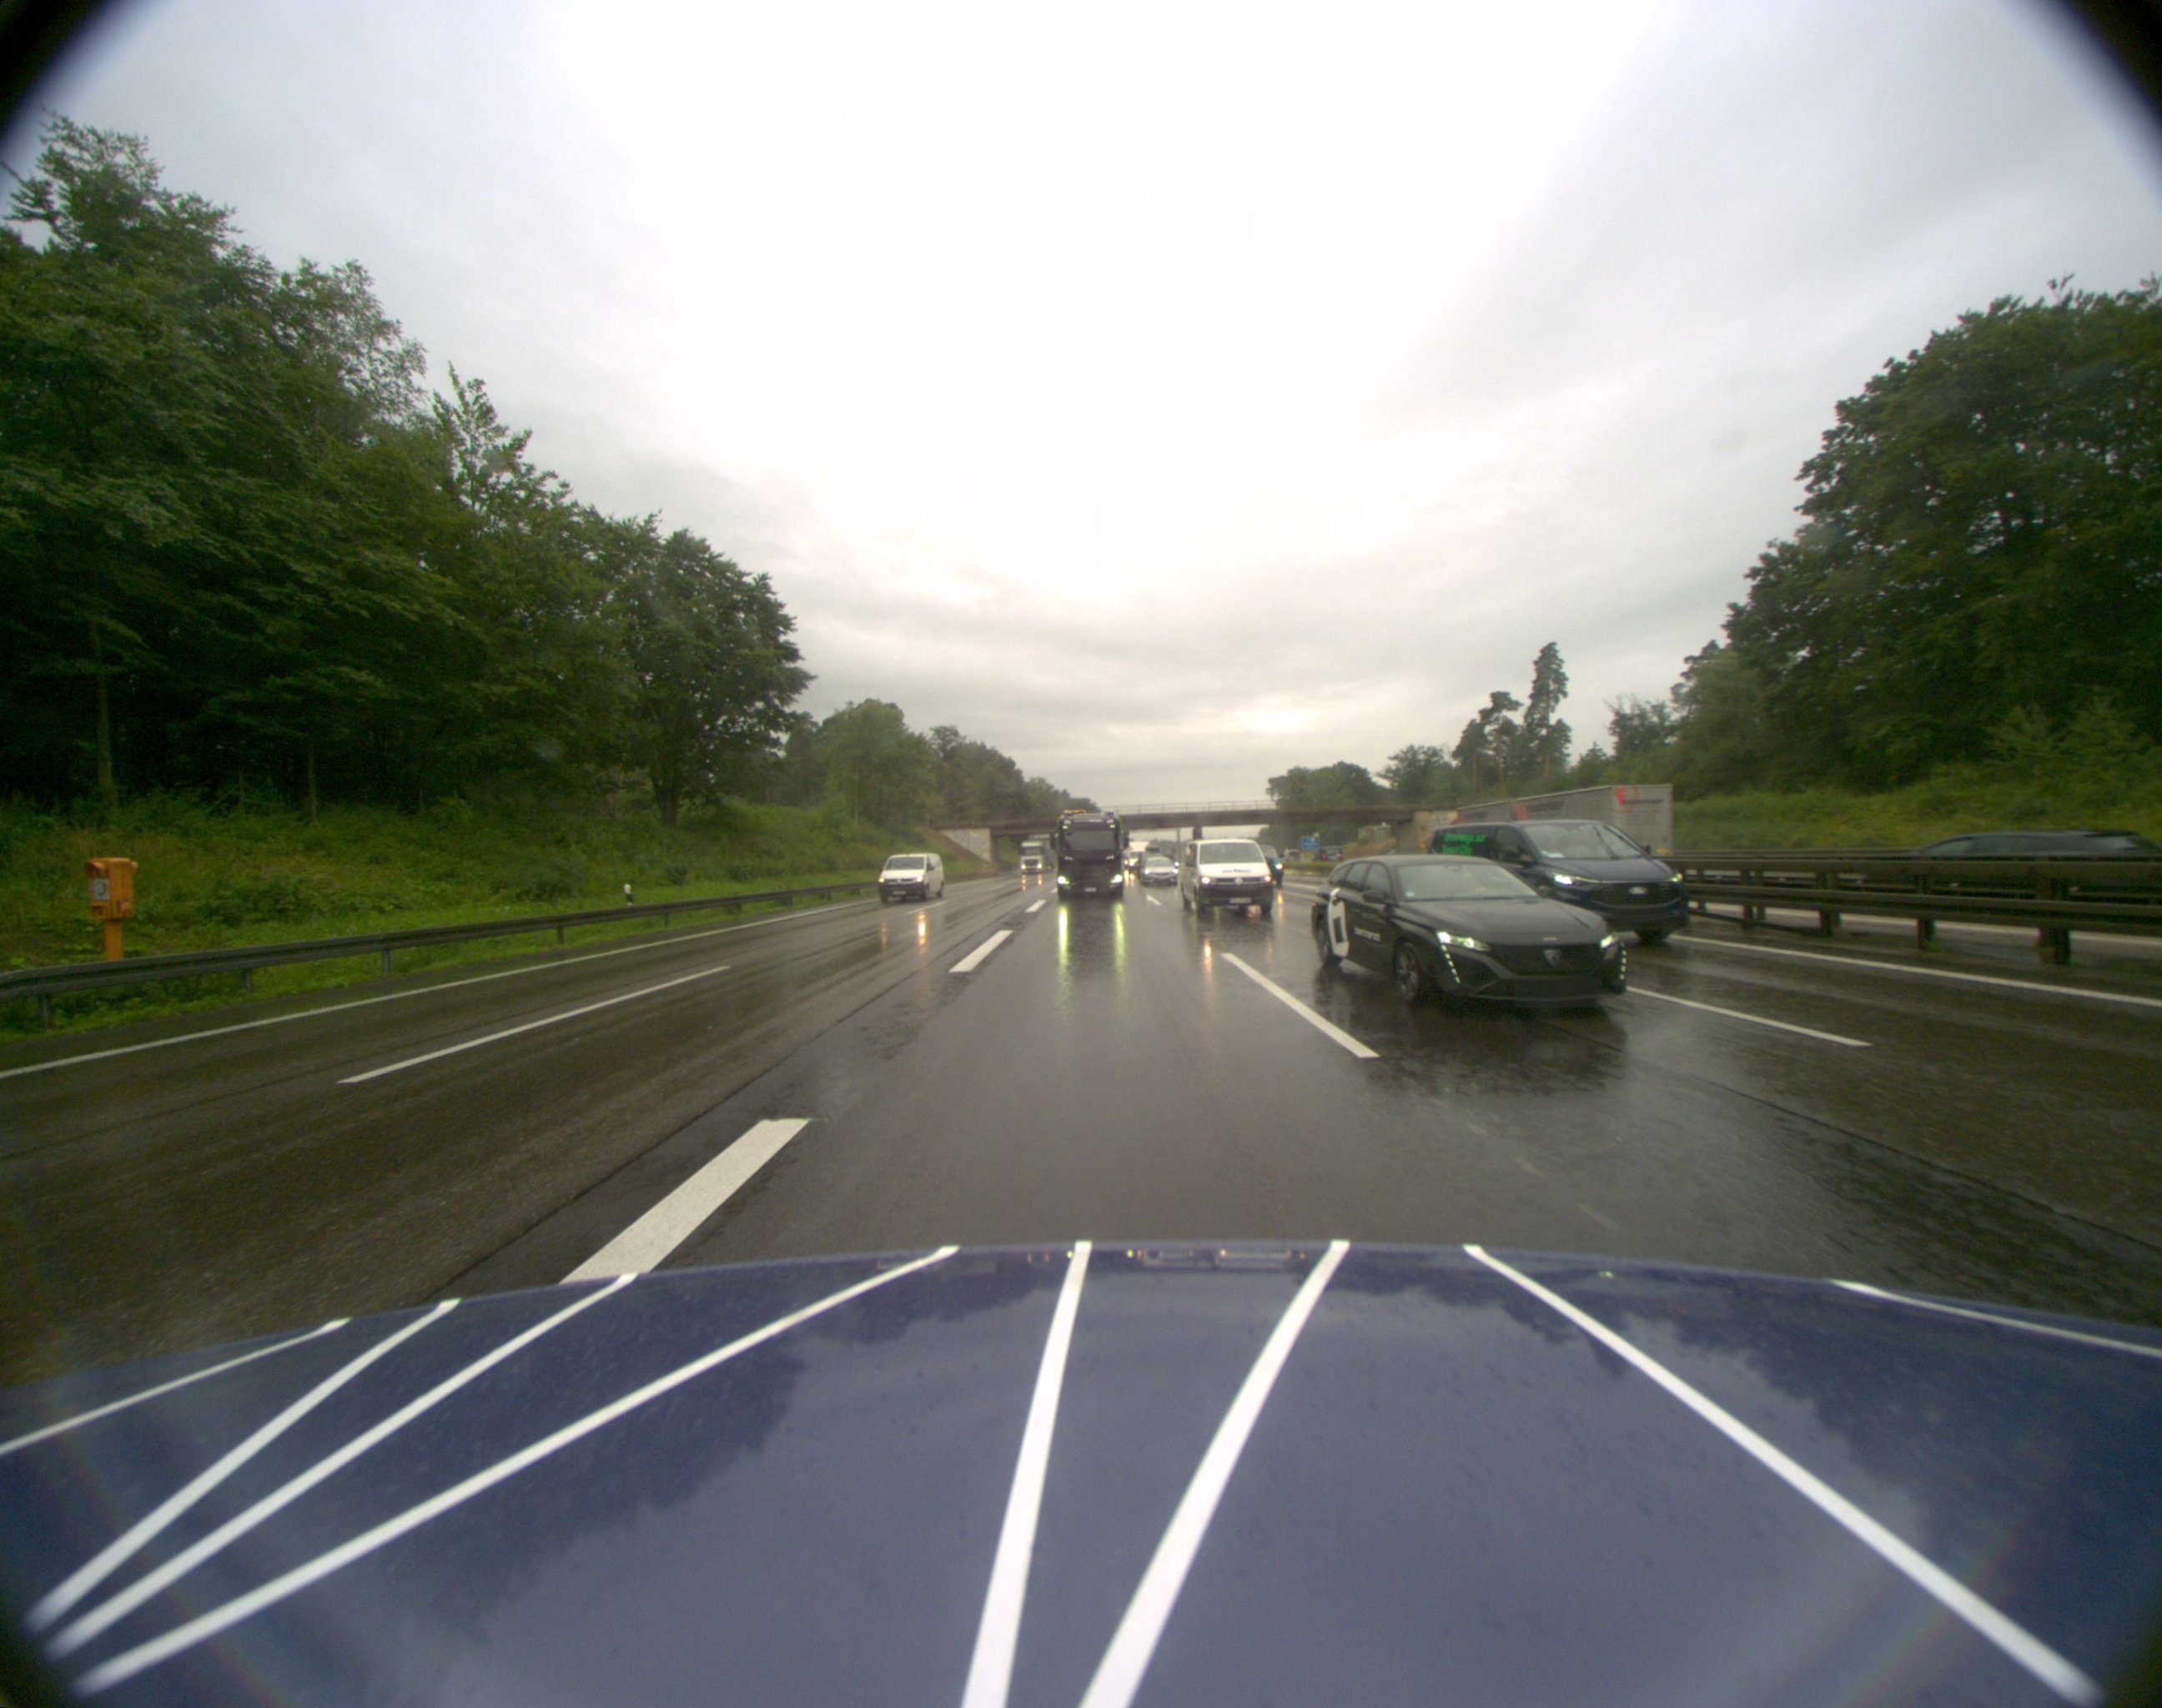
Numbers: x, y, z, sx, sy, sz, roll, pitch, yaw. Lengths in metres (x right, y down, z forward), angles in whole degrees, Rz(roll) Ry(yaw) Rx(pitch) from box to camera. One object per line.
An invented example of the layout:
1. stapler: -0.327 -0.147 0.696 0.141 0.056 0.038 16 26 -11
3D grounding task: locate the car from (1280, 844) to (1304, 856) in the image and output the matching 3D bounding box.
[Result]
1. car: 26.672 -0.503 96.124 1.840 1.489 4.332 -2 0 1

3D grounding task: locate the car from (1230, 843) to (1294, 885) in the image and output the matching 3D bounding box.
1. car: 8.751 0.452 37.151 1.915 1.852 4.758 -2 0 0

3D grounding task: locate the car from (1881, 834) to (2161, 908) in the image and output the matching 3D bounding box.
1. car: 19.286 0.305 15.621 1.705 1.297 3.756 -2 0 0

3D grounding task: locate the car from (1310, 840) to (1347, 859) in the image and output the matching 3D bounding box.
1. car: 21.259 -0.358 65.485 1.840 1.489 4.332 -2 0 2

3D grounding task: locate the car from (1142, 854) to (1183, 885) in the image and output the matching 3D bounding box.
1. car: 4.280 0.779 40.451 1.850 1.496 4.467 -2 0 2

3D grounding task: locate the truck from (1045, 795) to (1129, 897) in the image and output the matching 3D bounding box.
1. truck: 0.487 -0.337 32.486 2.879 3.528 10.912 -2 1 3

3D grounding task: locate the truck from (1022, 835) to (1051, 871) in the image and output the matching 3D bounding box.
1. truck: -5.266 -0.140 90.831 2.608 3.991 6.013 -3 1 2

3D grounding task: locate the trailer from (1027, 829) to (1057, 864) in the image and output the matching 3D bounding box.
1. trailer: -4.879 -0.964 97.353 2.560 3.990 13.714 -2 0 2

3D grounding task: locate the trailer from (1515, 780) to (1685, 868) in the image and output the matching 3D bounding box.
1. trailer: 25.409 -1.343 37.940 2.689 3.795 9.008 -2 0 3

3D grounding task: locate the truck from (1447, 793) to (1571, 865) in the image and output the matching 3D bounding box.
1. truck: 26.104 -1.414 47.109 2.710 3.909 10.030 -2 0 5

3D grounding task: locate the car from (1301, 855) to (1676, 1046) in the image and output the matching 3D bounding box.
1. car: 3.922 0.782 8.349 1.850 1.495 4.467 -2 0 2

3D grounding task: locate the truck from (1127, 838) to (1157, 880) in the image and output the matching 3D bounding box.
1. truck: 6.069 0.457 76.486 2.521 3.941 6.995 -2 0 2

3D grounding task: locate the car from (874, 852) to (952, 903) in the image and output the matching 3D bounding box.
1. car: -7.015 0.930 32.288 1.994 1.909 4.768 -2 0 3

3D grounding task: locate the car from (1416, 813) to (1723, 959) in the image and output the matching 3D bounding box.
1. car: 7.787 0.418 12.938 1.996 1.932 5.243 -1 0 2

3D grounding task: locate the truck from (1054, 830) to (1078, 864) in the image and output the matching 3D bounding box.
1. truck: -1.848 -0.864 93.744 2.608 3.934 5.600 -2 1 1

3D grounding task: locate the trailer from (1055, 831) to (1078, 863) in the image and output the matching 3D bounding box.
1. trailer: -1.962 -0.908 100.636 2.608 3.934 14.578 -2 0 -1

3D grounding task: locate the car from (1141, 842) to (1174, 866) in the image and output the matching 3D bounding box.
1. car: 5.358 -0.010 53.961 1.994 1.551 4.767 -2 0 2

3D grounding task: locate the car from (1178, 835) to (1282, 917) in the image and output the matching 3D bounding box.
1. car: 3.851 0.521 20.470 1.994 1.869 4.768 -2 0 2

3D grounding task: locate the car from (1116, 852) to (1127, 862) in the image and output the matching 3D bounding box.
1. car: 8.349 0.655 156.996 1.998 2.002 4.000 -2 0 1
